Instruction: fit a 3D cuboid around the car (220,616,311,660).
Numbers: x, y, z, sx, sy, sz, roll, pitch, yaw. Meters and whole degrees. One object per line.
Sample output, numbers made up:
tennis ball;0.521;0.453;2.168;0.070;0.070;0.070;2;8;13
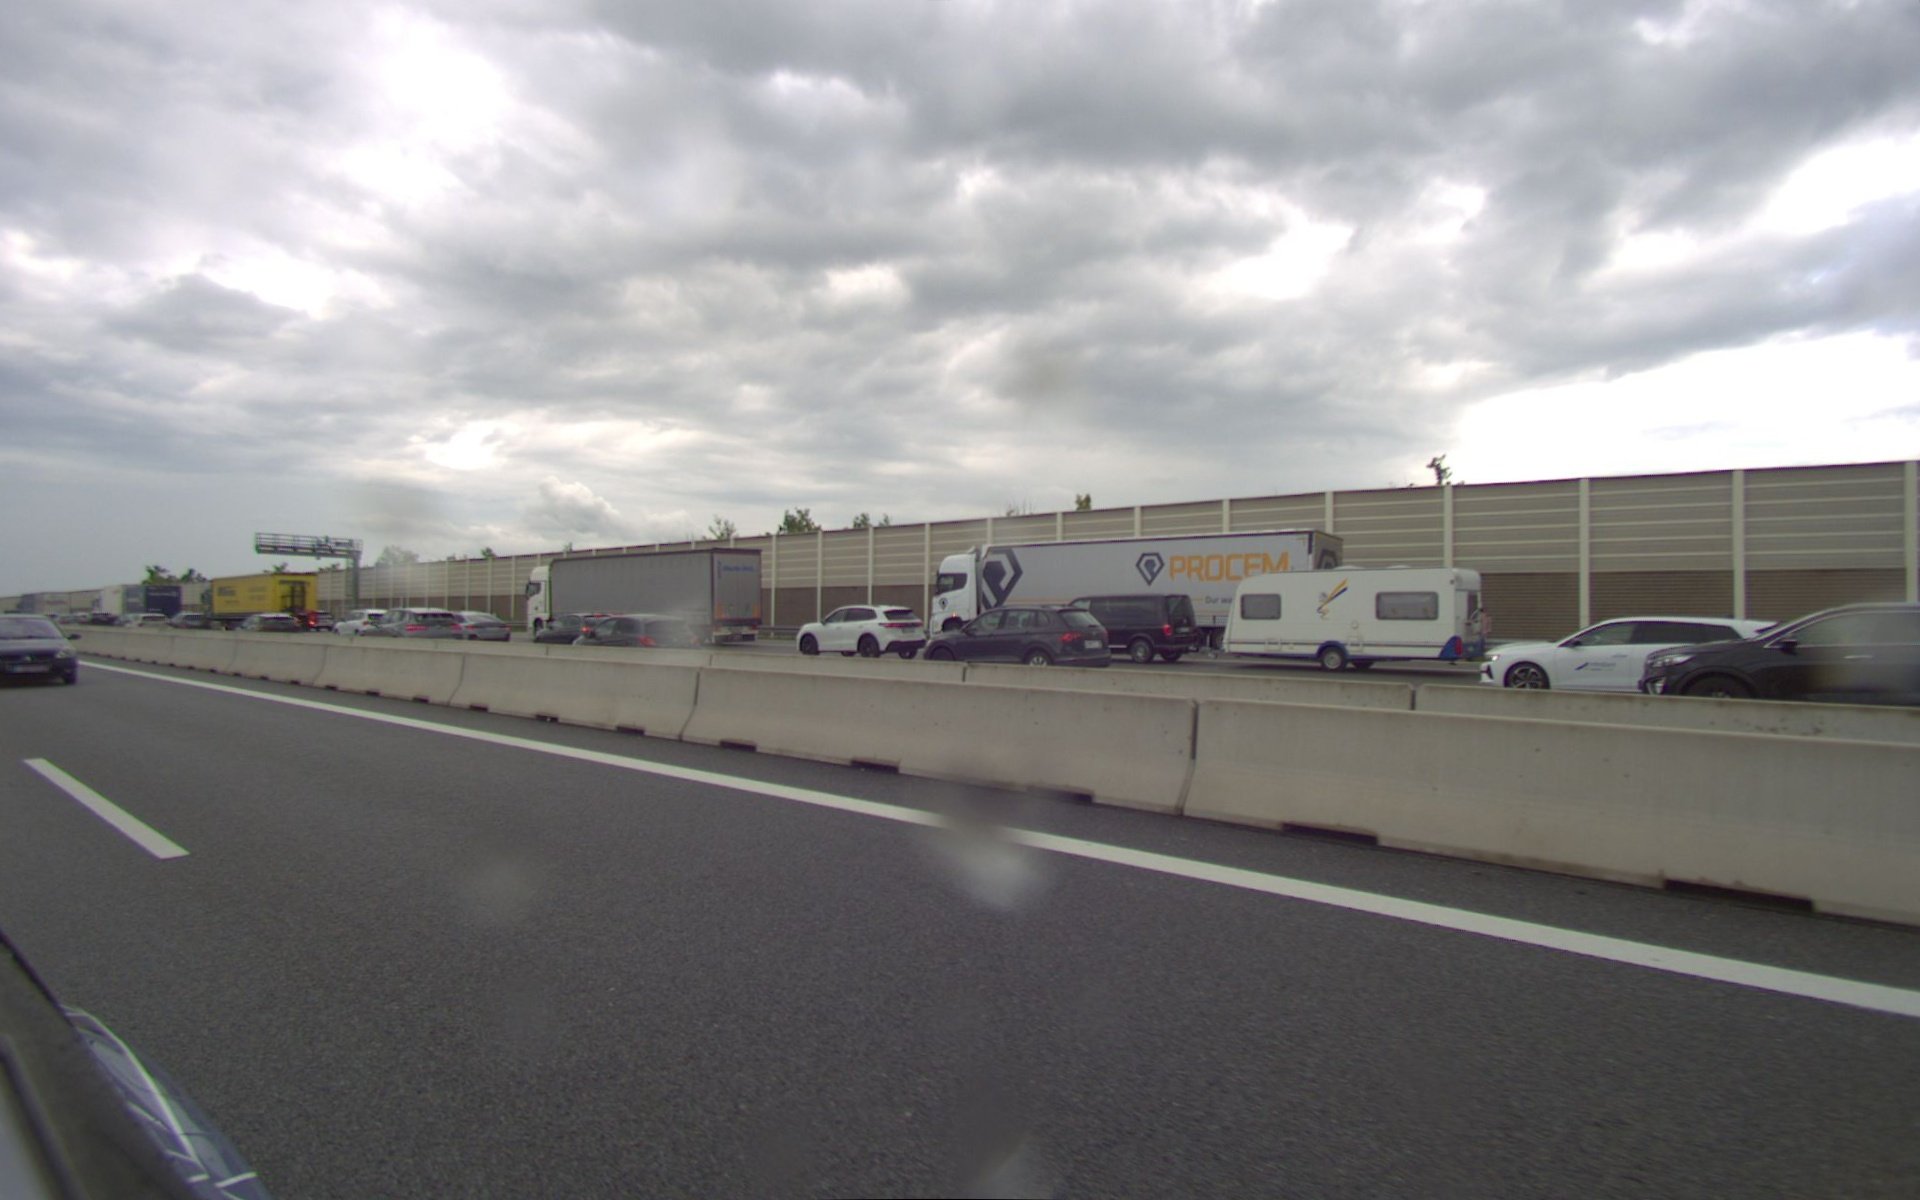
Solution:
car;-30.443;1.629;44.305;4.774;1.830;2.040;-1;-1;40

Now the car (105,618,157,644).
car;-64.190;2.405;78.334;5.802;1.907;2.040;-1;-1;40

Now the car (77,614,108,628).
car;-105.542;2.537;123.108;5.804;1.612;2.040;-1;-1;41

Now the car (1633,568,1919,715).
car;11.623;0.494;12.703;5.085;1.712;2.040;-1;-1;41

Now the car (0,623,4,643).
car;-98.683;3.336;102.454;5.801;2.018;2.041;-1;-1;39

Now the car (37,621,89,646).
car;-66.732;2.475;75.288;5.802;1.769;2.040;-1;-1;40

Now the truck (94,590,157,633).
truck;-80.056;1.163;96.972;11.060;3.975;2.907;-1;-1;41

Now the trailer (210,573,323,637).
trailer;-48.216;0.413;70.050;14.442;4.062;2.733;-1;-1;40

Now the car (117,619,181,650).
car;-47.032;1.970;58.688;4.406;1.712;2.040;-1;-1;40

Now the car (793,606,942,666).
car;-2.848;1.056;30.618;4.406;1.712;1.936;-1;-1;40

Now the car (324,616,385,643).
car;-39.308;1.890;65.658;4.406;1.712;2.040;-1;-1;40

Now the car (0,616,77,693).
car;-19.055;1.035;20.261;3.998;1.413;1.558;-1;-1;41

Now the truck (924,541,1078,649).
truck;1.601;-0.142;41.195;5.723;4.065;2.886;-1;-1;41

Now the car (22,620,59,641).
car;-92.996;3.074;102.292;5.804;2.018;2.040;-1;-1;41

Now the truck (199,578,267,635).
truck;-53.663;0.508;74.667;5.721;4.065;2.717;-1;-1;40

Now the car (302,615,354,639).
car;-47.415;2.023;75.896;4.406;1.712;2.040;-1;-1;40

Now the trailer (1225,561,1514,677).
trailer;9.838;0.467;24.709;6.083;2.514;2.433;-1;-1;42

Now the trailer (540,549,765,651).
trailer;-14.461;0.096;46.262;14.447;4.062;2.732;-1;-1;42

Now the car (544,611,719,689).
car;-7.918;1.136;24.197;4.406;1.712;1.936;-1;-1;40

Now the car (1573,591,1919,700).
car;12.695;0.641;15.881;4.997;1.502;2.038;0;-1;42

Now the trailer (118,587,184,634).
trailer;-72.028;0.980;90.008;10.114;3.969;2.900;-1;-1;41

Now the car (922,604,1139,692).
car;1.458;0.983;21.980;4.406;1.712;1.936;-1;-1;40

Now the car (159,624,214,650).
car;-52.878;2.506;69.150;4.406;1.712;2.040;-1;-1;40

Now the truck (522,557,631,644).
truck;-19.172;0.071;50.477;5.723;4.065;2.716;-1;-1;41

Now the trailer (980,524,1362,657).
trailer;6.937;-0.209;36.478;13.855;4.062;2.905;-1;-1;42

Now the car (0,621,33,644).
car;-86.469;2.907;92.306;5.802;2.018;2.040;-1;-1;40

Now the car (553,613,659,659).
car;-13.899;1.379;39.641;4.406;1.712;1.936;-1;-1;40

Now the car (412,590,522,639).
car;-19.803;0.591;40.562;5.109;1.830;2.040;-1;-1;40

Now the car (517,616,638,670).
car;-13.029;1.407;34.393;4.406;1.712;1.936;-1;-1;40

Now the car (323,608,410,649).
car;-28.087;1.322;47.866;4.774;1.830;2.040;-1;-1;40

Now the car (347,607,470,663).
car;-18.320;1.123;33.521;4.888;1.712;1.936;-1;-1;40

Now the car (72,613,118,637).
car;-74.842;2.144;87.543;5.802;2.018;2.040;-1;-1;40

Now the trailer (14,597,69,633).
trailer;-111.236;1.854;122.440;14.305;4.192;3.027;-1;-1;40

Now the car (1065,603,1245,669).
car;5.413;0.976;28.507;4.658;1.712;1.935;-1;-1;42
